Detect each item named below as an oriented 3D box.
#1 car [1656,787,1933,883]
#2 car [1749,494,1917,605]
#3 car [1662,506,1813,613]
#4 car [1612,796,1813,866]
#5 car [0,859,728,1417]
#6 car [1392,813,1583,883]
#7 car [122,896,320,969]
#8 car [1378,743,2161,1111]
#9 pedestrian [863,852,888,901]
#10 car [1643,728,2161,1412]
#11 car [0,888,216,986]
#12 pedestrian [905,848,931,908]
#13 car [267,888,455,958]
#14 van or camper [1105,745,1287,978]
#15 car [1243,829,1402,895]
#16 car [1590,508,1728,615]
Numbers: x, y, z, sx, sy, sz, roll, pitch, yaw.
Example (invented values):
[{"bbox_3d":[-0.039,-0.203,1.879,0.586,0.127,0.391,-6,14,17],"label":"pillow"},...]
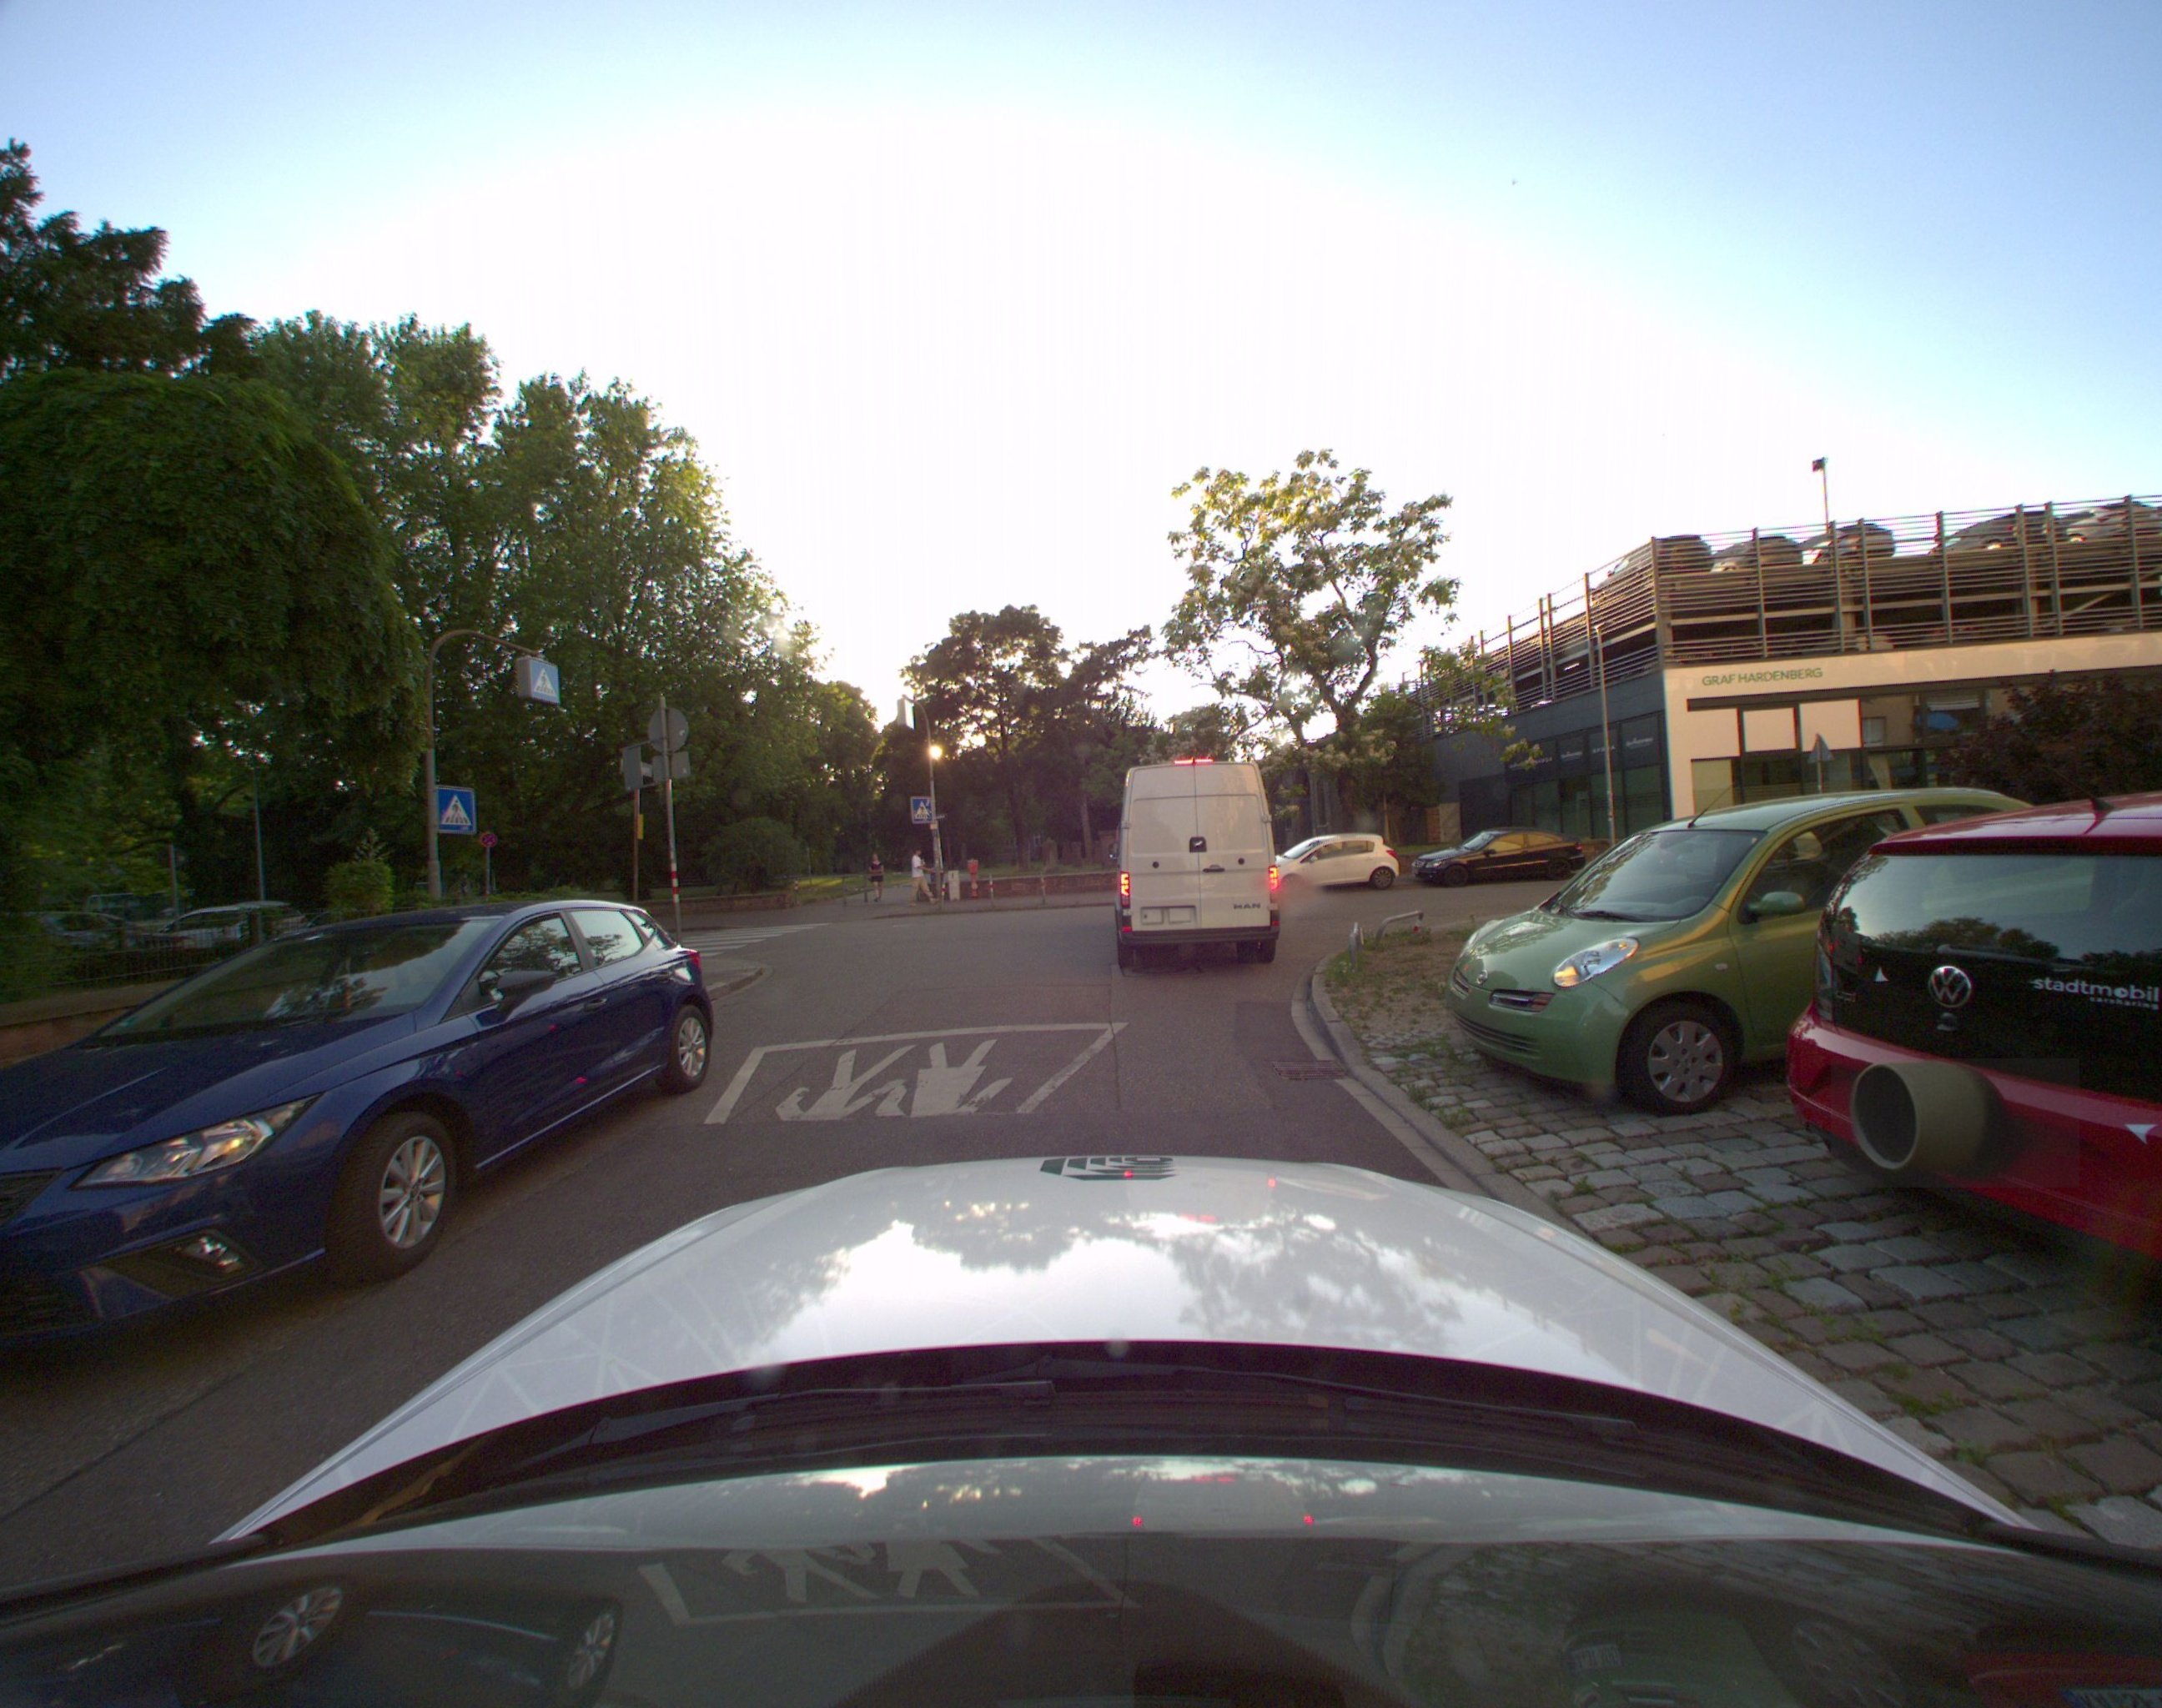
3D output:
[{"bbox_3d":[14.238,-0.363,16.453,3.820,1.523,1.825,-5,0,4],"label":"car"},{"bbox_3d":[24.457,-9.862,26.722,1.984,2.013,4.006,-2,0,6],"label":"car"},{"bbox_3d":[21.743,-9.707,27.209,1.984,2.013,4.006,-2,0,6],"label":"car"},{"bbox_3d":[16.814,-0.599,21.855,3.820,1.503,1.825,-5,0,4],"label":"car"},{"bbox_3d":[-3.531,0.893,4.281,1.730,1.567,3.786,-5,0,-3],"label":"car"},{"bbox_3d":[11.076,-0.158,22.455,4.273,1.503,1.825,-5,0,4],"label":"car"},{"bbox_3d":[-25.676,2.320,24.404,3.852,1.562,1.826,-4,6,3],"label":"car"},{"bbox_3d":[4.486,0.359,5.217,4.392,1.631,1.844,-5,-2,-2],"label":"car"},{"bbox_3d":[-7.122,0.775,28.277,0.644,1.648,0.674,-2,0,0],"label":"pedestrian"},{"bbox_3d":[4.753,0.268,2.657,4.387,1.631,1.847,-7,0,2],"label":"car"},{"bbox_3d":[-21.585,1.794,17.438,4.212,1.799,1.824,-4,-3,2],"label":"car"},{"bbox_3d":[-5.066,0.728,25.289,0.591,1.809,0.621,-2,0,2],"label":"pedestrian"},{"bbox_3d":[-20.971,1.989,23.825,3.832,1.491,1.828,-4,6,7],"label":"car"},{"bbox_3d":[1.452,0.103,12.683,1.986,2.618,6.406,-3,0,2],"label":"van or camper"},{"bbox_3d":[6.690,0.202,22.854,3.844,1.574,1.957,-3,0,-2],"label":"car"},{"bbox_3d":[19.177,-9.659,27.248,1.984,2.013,4.006,-2,0,6],"label":"car"}]
